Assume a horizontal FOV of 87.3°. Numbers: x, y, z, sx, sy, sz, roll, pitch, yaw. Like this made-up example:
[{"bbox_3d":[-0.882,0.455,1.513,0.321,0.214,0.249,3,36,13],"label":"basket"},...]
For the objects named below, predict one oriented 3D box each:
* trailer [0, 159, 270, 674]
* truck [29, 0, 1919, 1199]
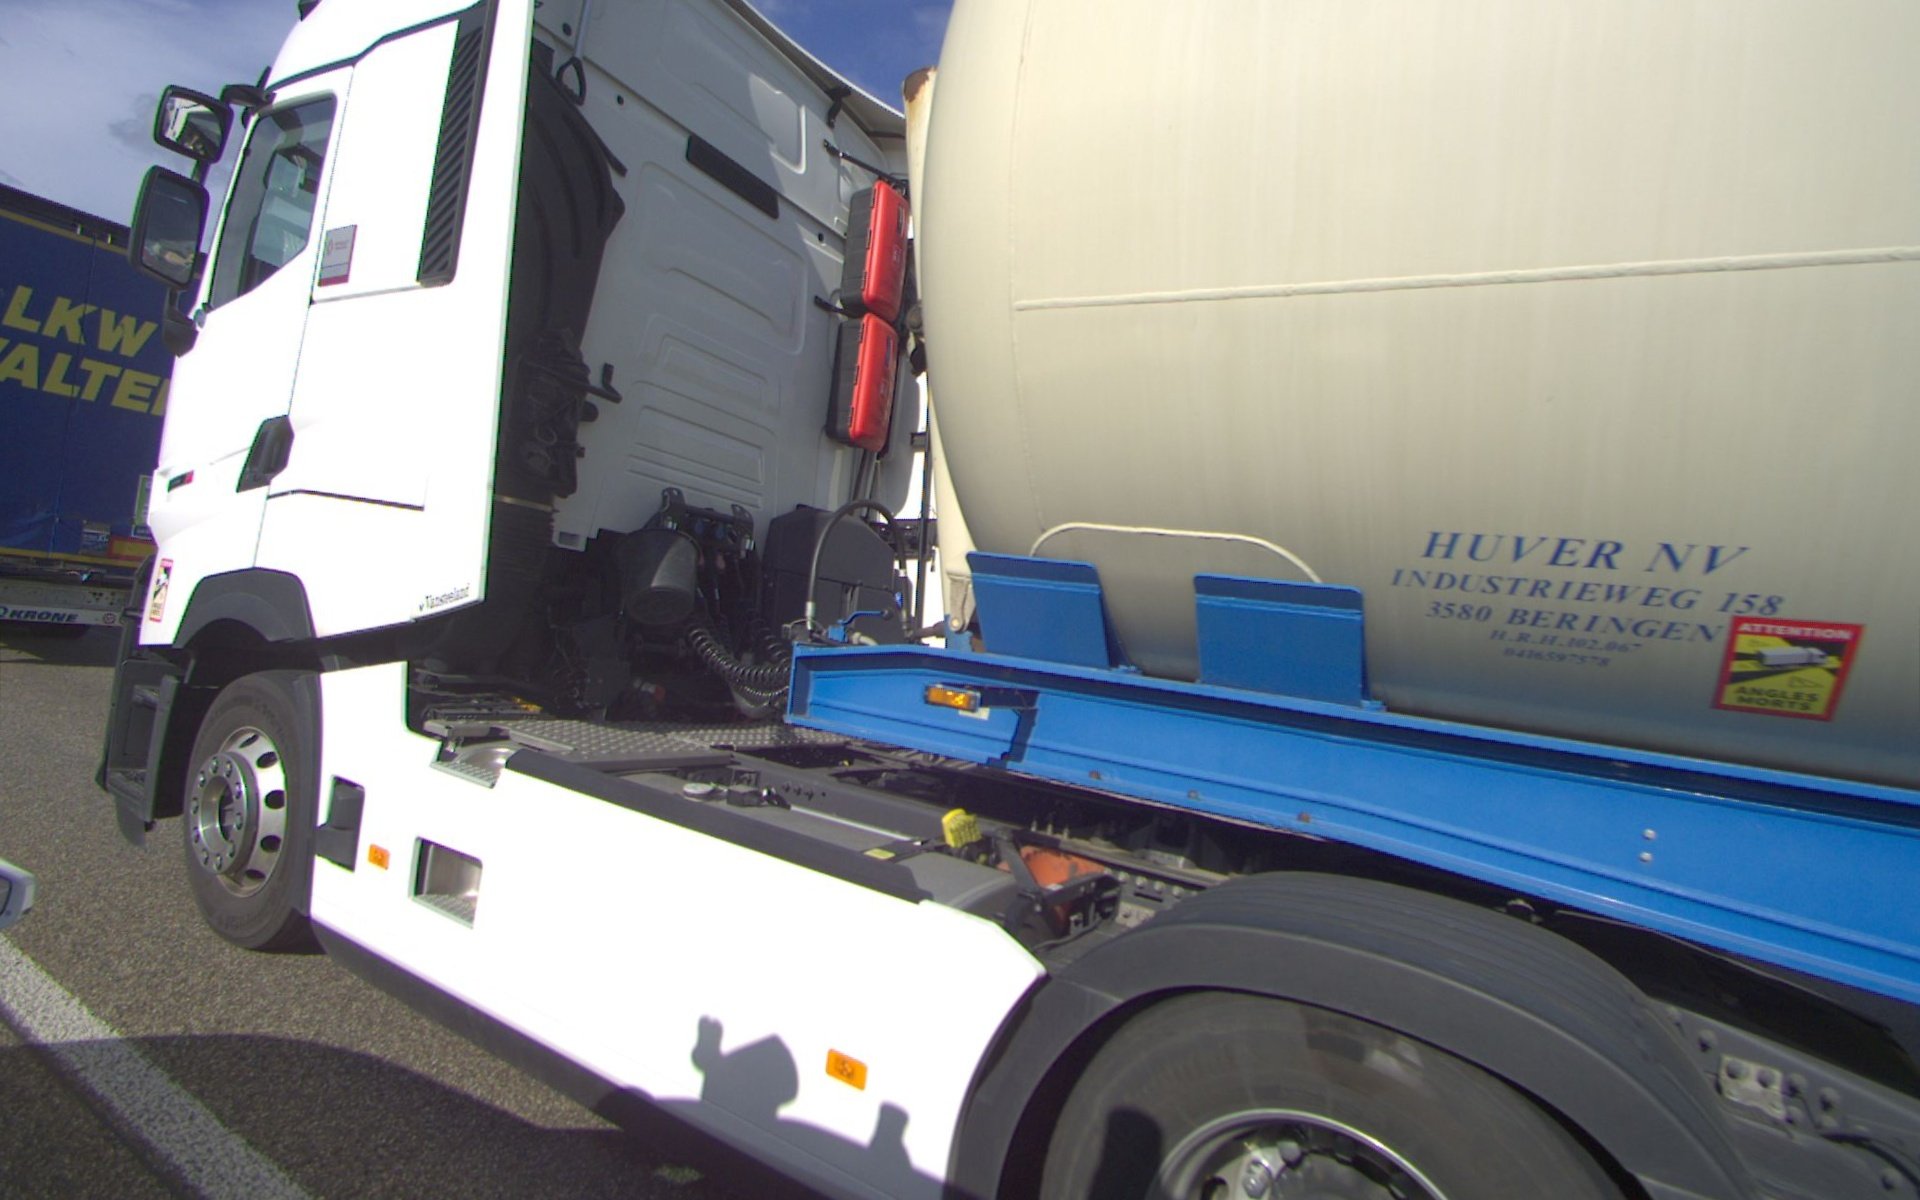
[{"bbox_3d":[-13.495,-2.114,12.348,13.748,4.147,2.646,7,-1,32],"label":"trailer"},{"bbox_3d":[-0.184,-0.471,3.600,6.828,3.972,2.653,7,-1,32],"label":"truck"}]
